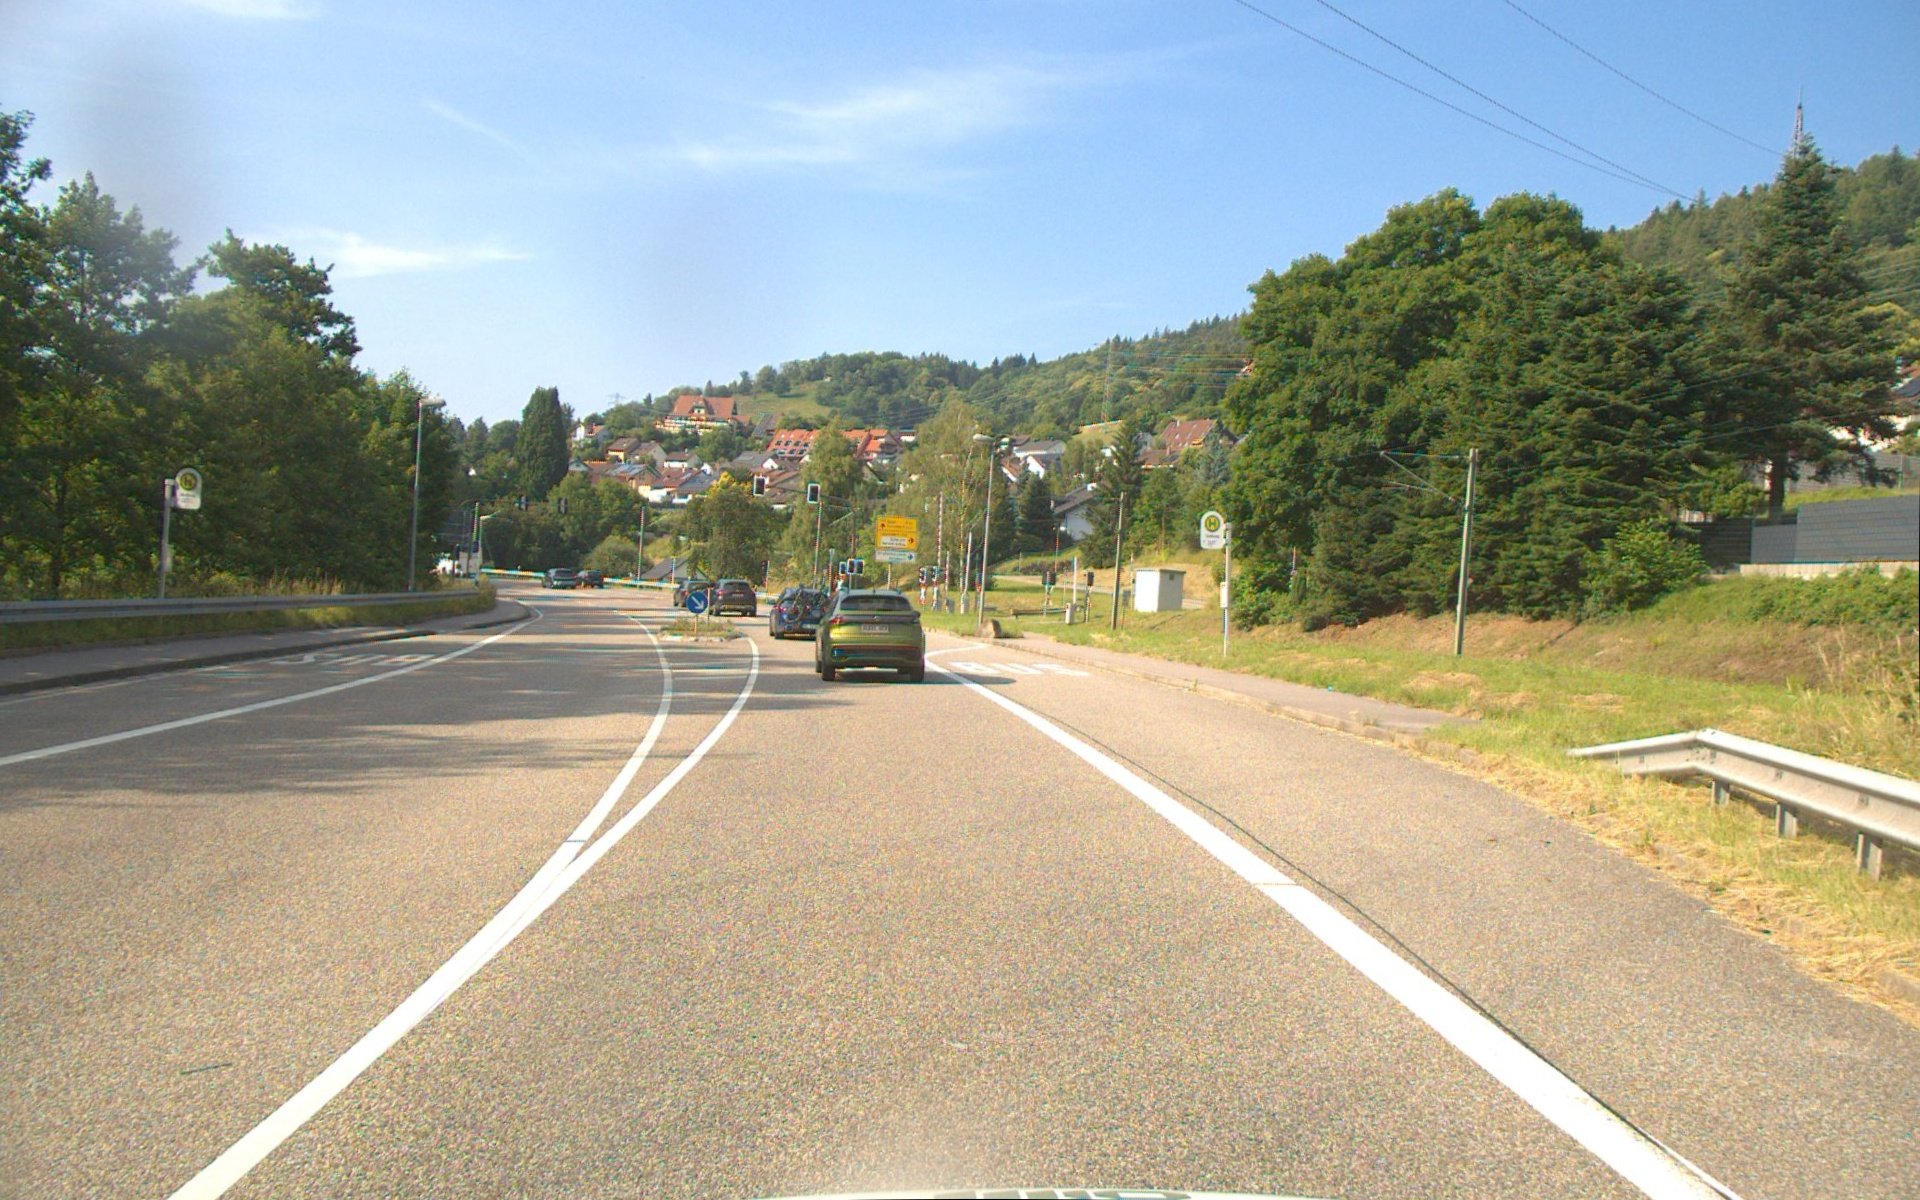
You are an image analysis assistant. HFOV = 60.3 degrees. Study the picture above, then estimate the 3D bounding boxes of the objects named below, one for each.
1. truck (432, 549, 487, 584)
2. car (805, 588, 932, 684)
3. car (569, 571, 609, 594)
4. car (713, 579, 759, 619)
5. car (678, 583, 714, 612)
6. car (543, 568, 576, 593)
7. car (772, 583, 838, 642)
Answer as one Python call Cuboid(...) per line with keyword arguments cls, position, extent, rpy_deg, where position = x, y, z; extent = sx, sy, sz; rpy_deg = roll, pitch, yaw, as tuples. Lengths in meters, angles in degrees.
Cuboid(cls="truck", position=(-47.868, -3.228, 158.104), extent=(2.695, 3.138, 6.021), rpy_deg=(4, -1, -40))
Cuboid(cls="car", position=(-1.634, 0.558, 28.356), extent=(1.683, 1.480, 3.991), rpy_deg=(1, 0, -10))
Cuboid(cls="car", position=(-30.923, -1.490, 137.735), extent=(1.975, 1.775, 3.955), rpy_deg=(2, 0, -33))
Cuboid(cls="car", position=(-10.183, -0.065, 75.032), extent=(1.846, 1.716, 3.989), rpy_deg=(1, 0, -11))
Cuboid(cls="car", position=(-14.585, -0.143, 91.257), extent=(1.816, 1.553, 3.651), rpy_deg=(1, 0, -12))
Cuboid(cls="car", position=(-32.058, -1.571, 132.347), extent=(2.035, 1.842, 3.973), rpy_deg=(1, 1, -22))
Cuboid(cls="car", position=(-4.465, 0.325, 47.302), extent=(1.636, 1.586, 3.992), rpy_deg=(1, 0, -9))
